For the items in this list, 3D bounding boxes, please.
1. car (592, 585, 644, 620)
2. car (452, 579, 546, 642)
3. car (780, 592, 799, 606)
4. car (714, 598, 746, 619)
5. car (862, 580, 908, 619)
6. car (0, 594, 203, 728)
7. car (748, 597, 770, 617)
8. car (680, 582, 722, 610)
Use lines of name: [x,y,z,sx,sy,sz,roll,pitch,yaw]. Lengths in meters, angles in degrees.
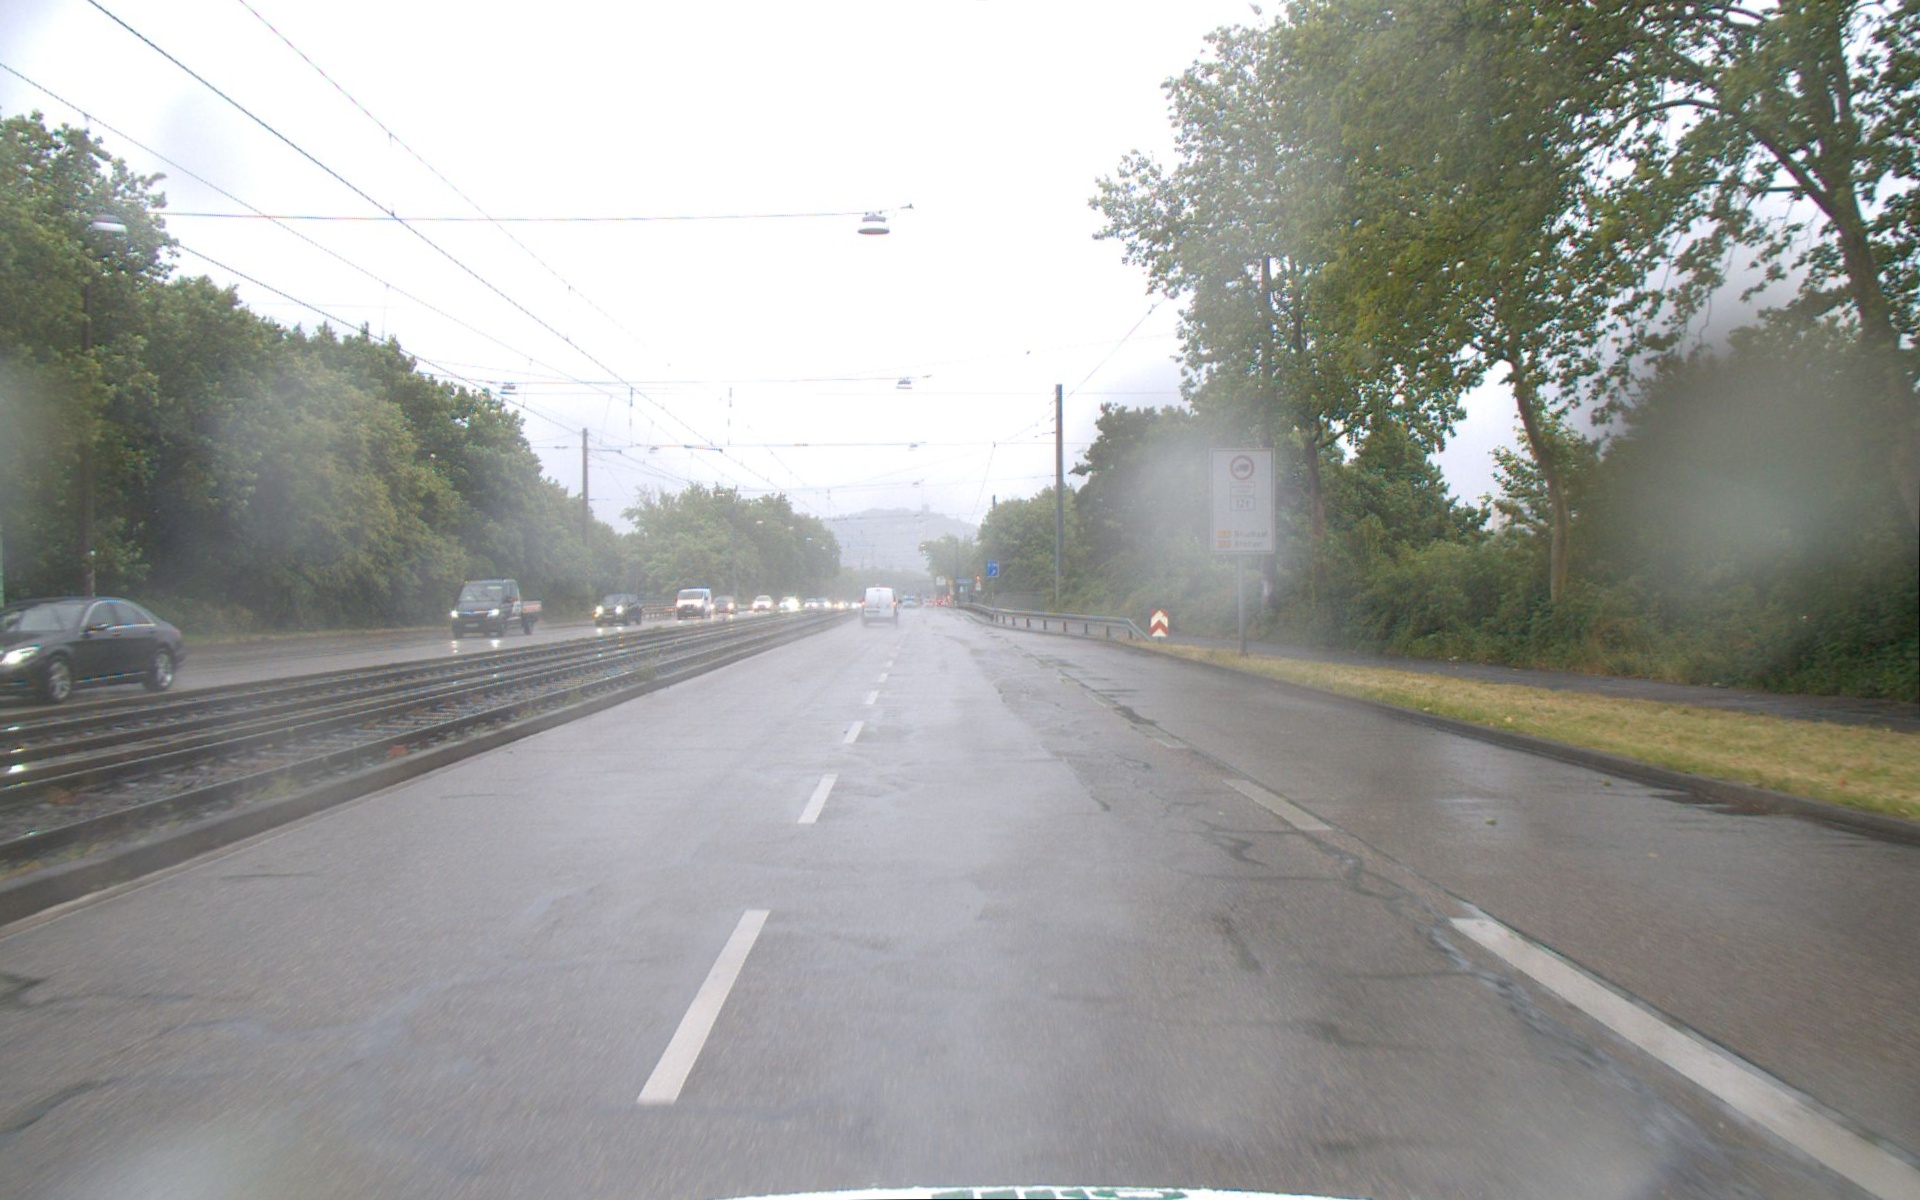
car: [-18.351,0.134,88.823,1.803,1.746,4.164,1,1,2]
car: [-19.050,0.382,68.680,2.057,2.383,6.988,1,1,-1]
car: [-19.299,-0.092,187.032,1.761,1.478,4.194,1,1,-1]
car: [-18.030,0.647,129.828,1.654,1.545,4.613,1,1,2]
car: [-3.523,-0.043,78.327,1.948,1.713,3.740,1,1,0]
car: [-13.345,0.794,24.507,1.740,1.612,5.680,1,1,-1]
car: [-19.352,0.654,159.553,1.719,1.741,3.999,1,1,-2]
car: [-17.588,-0.289,112.507,1.998,1.806,4.986,1,1,0]
